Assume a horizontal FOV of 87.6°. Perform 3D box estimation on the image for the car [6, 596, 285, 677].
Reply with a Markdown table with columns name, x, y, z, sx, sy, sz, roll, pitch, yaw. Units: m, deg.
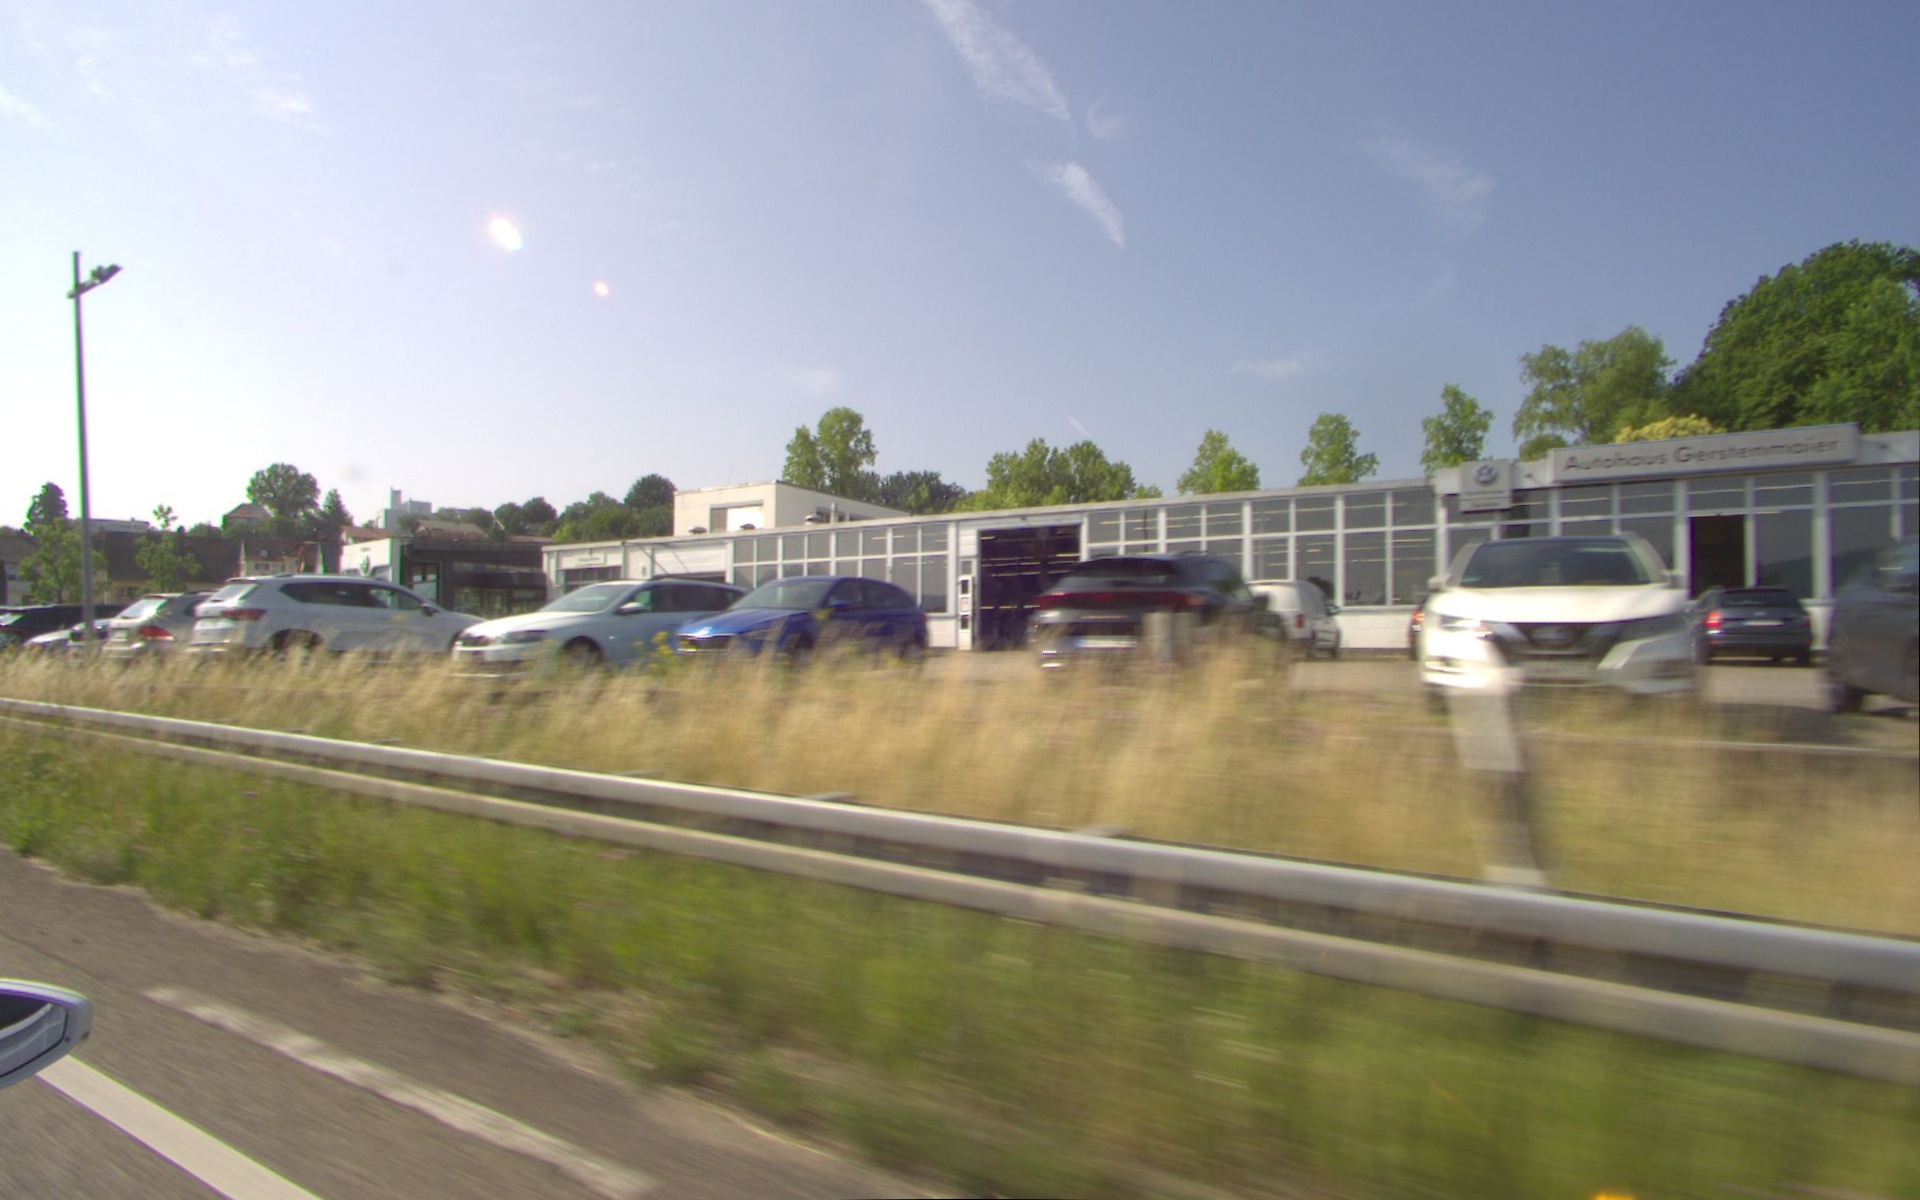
| name | x | y | z | sx | sy | sz | roll | pitch | yaw |
| --- | --- | --- | --- | --- | --- | --- | --- | --- | --- |
| car | -16.360 | 0.744 | 20.328 | 1.922 | 1.470 | 3.983 | -1 | -2 | 30 |

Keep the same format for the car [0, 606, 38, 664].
| name | x | y | z | sx | sy | sz | roll | pitch | yaw |
| --- | --- | --- | --- | --- | --- | --- | --- | --- | --- |
| car | -29.071 | 0.989 | 28.371 | 1.893 | 1.652 | 3.981 | -1 | -2 | 31 |

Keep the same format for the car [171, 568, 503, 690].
| name | x | y | z | sx | sy | sz | roll | pitch | yaw |
| --- | --- | --- | --- | --- | --- | --- | --- | --- | --- |
| car | -9.562 | 0.444 | 15.676 | 1.854 | 1.638 | 4.037 | -1 | -1 | 33 |

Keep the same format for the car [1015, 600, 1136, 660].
| name | x | y | z | sx | sy | sz | roll | pitch | yaw |
| --- | --- | --- | --- | --- | --- | --- | --- | --- | --- |
| car | 3.213 | 0.799 | 27.105 | 1.763 | 1.483 | 4.306 | -1 | -1 | 29 |

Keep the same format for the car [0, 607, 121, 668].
| name | x | y | z | sx | sy | sz | roll | pitch | yaw |
| --- | --- | --- | --- | --- | --- | --- | --- | --- | --- |
| car | -23.942 | 0.941 | 25.154 | 1.922 | 1.470 | 3.983 | -1 | -2 | 30 |

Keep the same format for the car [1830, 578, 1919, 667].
| name | x | y | z | sx | sy | sz | roll | pitch | yaw |
| --- | --- | --- | --- | --- | --- | --- | --- | --- | --- |
| car | 17.361 | 0.400 | 18.142 | 1.765 | 1.483 | 3.980 | -1 | -1 | 32 |

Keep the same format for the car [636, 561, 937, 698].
| name | x | y | z | sx | sy | sz | roll | pitch | yaw |
| --- | --- | --- | --- | --- | --- | --- | --- | --- | --- |
| car | -2.099 | 0.381 | 13.259 | 1.851 | 1.513 | 4.043 | -1 | -1 | 28 |

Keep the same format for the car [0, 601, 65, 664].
| name | x | y | z | sx | sy | sz | roll | pitch | yaw |
| --- | --- | --- | --- | --- | --- | --- | --- | --- | --- |
| car | -26.375 | 0.844 | 26.229 | 1.892 | 1.652 | 3.985 | -1 | -2 | 28 |

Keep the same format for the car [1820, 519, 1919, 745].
| name | x | y | z | sx | sy | sz | roll | pitch | yaw |
| --- | --- | --- | --- | --- | --- | --- | --- | --- | --- |
| car | 7.649 | 0.209 | 7.009 | 1.850 | 1.483 | 3.980 | -1 | -1 | 32 |

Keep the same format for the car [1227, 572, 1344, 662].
| name | x | y | z | sx | sy | sz | roll | pitch | yaw |
| --- | --- | --- | --- | --- | --- | --- | --- | --- | --- |
| car | 7.829 | 0.419 | 23.850 | 1.764 | 1.949 | 4.304 | -1 | -1 | 30 |

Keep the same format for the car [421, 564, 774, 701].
| name | x | y | z | sx | sy | sz | roll | pitch | yaw |
| --- | --- | --- | --- | --- | --- | --- | --- | --- | --- |
| car | -4.593 | 0.412 | 13.414 | 1.851 | 1.513 | 4.346 | -1 | -1 | 28 |

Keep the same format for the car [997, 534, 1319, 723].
| name | x | y | z | sx | sy | sz | roll | pitch | yaw |
| --- | --- | --- | --- | --- | --- | --- | --- | --- | --- |
| car | 2.315 | 0.294 | 10.685 | 2.003 | 1.572 | 4.276 | -1 | -1 | 32 |

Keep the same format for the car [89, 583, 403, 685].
| name | x | y | z | sx | sy | sz | roll | pitch | yaw |
| --- | --- | --- | --- | --- | --- | --- | --- | --- | --- |
| car | -12.040 | 0.564 | 17.148 | 1.781 | 1.526 | 4.031 | -1 | -1 | 33 |

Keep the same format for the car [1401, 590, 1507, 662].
| name | x | y | z | sx | sy | sz | roll | pitch | yaw |
| --- | --- | --- | --- | --- | --- | --- | --- | --- | --- |
| car | 11.290 | 0.584 | 22.733 | 1.765 | 1.483 | 4.302 | -1 | -1 | 32 |

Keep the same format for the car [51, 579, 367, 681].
| name | x | y | z | sx | sy | sz | roll | pitch | yaw |
| --- | --- | --- | --- | --- | --- | --- | --- | --- | --- |
| car | -13.849 | 0.576 | 18.750 | 1.923 | 1.660 | 4.350 | -1 | -2 | 31 |

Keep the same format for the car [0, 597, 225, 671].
| name | x | y | z | sx | sy | sz | roll | pitch | yaw |
| --- | --- | --- | --- | --- | --- | --- | --- | --- | --- |
| car | -18.482 | 0.743 | 21.718 | 1.752 | 1.446 | 3.730 | -1 | -2 | 30 |

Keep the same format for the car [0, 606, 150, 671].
| name | x | y | z | sx | sy | sz | roll | pitch | yaw |
| --- | --- | --- | --- | --- | --- | --- | --- | --- | --- |
| car | -21.307 | 0.879 | 23.057 | 1.796 | 1.424 | 3.727 | -1 | -2 | 30 |

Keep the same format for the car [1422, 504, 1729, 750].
| name | x | y | z | sx | sy | sz | roll | pitch | yaw |
| --- | --- | --- | --- | --- | --- | --- | --- | --- | --- |
| car | 5.185 | 0.224 | 8.561 | 1.780 | 1.572 | 3.980 | -1 | -1 | 32 |

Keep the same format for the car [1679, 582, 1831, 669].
| name | x | y | z | sx | sy | sz | roll | pitch | yaw |
| --- | --- | --- | --- | --- | --- | --- | --- | --- | --- |
| car | 15.177 | 0.489 | 19.337 | 1.765 | 1.483 | 4.302 | -1 | -1 | 32 |
